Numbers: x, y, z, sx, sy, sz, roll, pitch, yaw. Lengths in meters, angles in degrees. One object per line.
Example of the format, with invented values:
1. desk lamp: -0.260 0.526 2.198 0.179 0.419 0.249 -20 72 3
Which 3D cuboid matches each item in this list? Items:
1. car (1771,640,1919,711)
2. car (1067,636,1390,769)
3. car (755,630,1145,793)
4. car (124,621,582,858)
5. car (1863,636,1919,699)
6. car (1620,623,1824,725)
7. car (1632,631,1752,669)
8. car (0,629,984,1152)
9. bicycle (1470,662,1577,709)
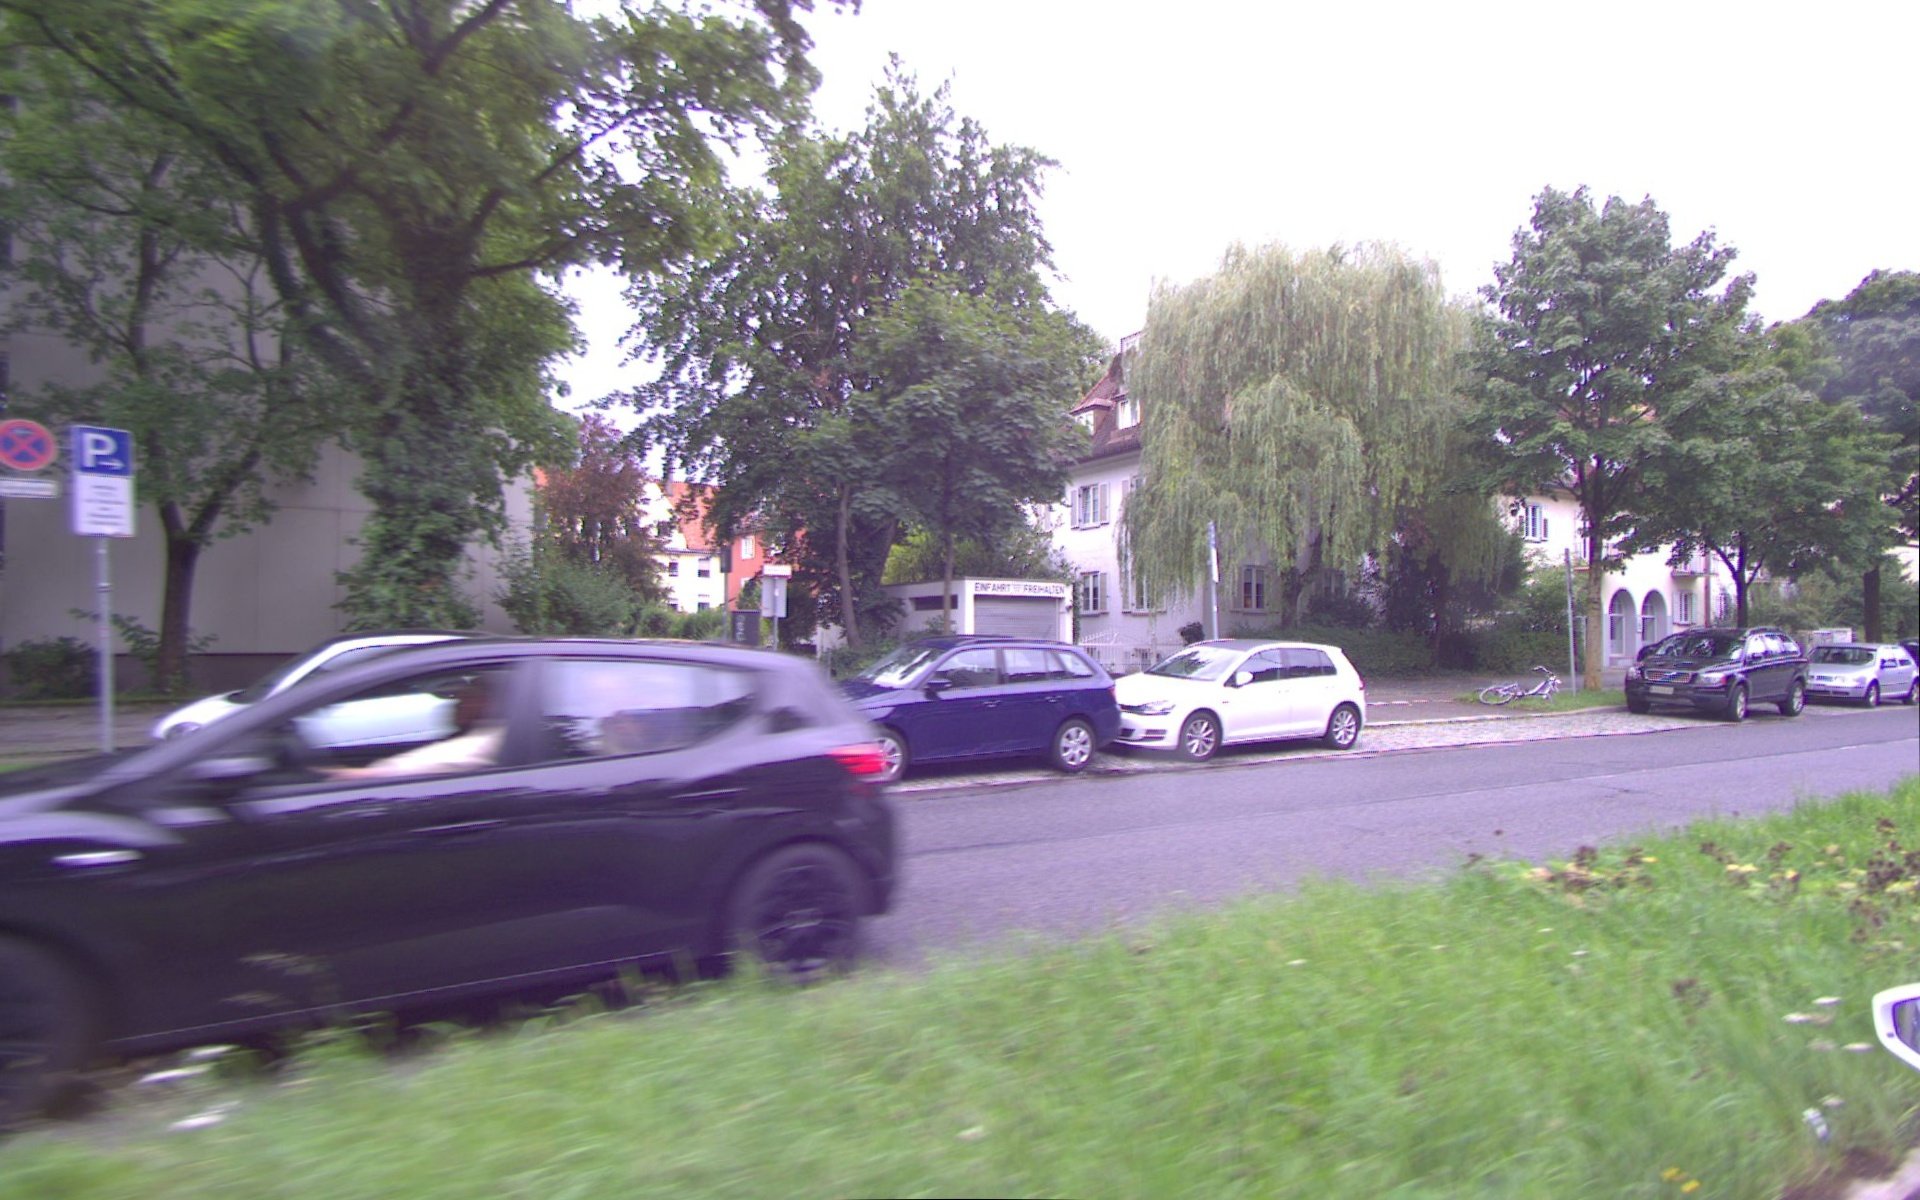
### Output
1. car: 21.338 1.737 23.964 4.324 1.464 1.658 1 1 -31
2. car: 3.690 1.270 13.602 4.268 1.462 1.667 1 1 -30
3. car: -0.053 1.136 11.474 4.165 1.495 1.666 1 1 -30
4. car: -4.999 1.023 8.573 3.045 1.586 1.681 1 1 -32
5. car: 25.628 1.742 26.473 4.252 1.583 1.657 1 -2 -33
6. car: 15.608 1.406 20.478 5.005 1.787 1.785 1 1 -34
7. car: 29.831 2.012 41.018 1.653 1.481 3.614 1 -2 -32
8. car: -2.114 0.861 4.157 4.165 1.459 1.731 1 -2 -30
9. bicycle: 11.720 1.756 20.906 1.387 0.840 1.445 1 0 -30
